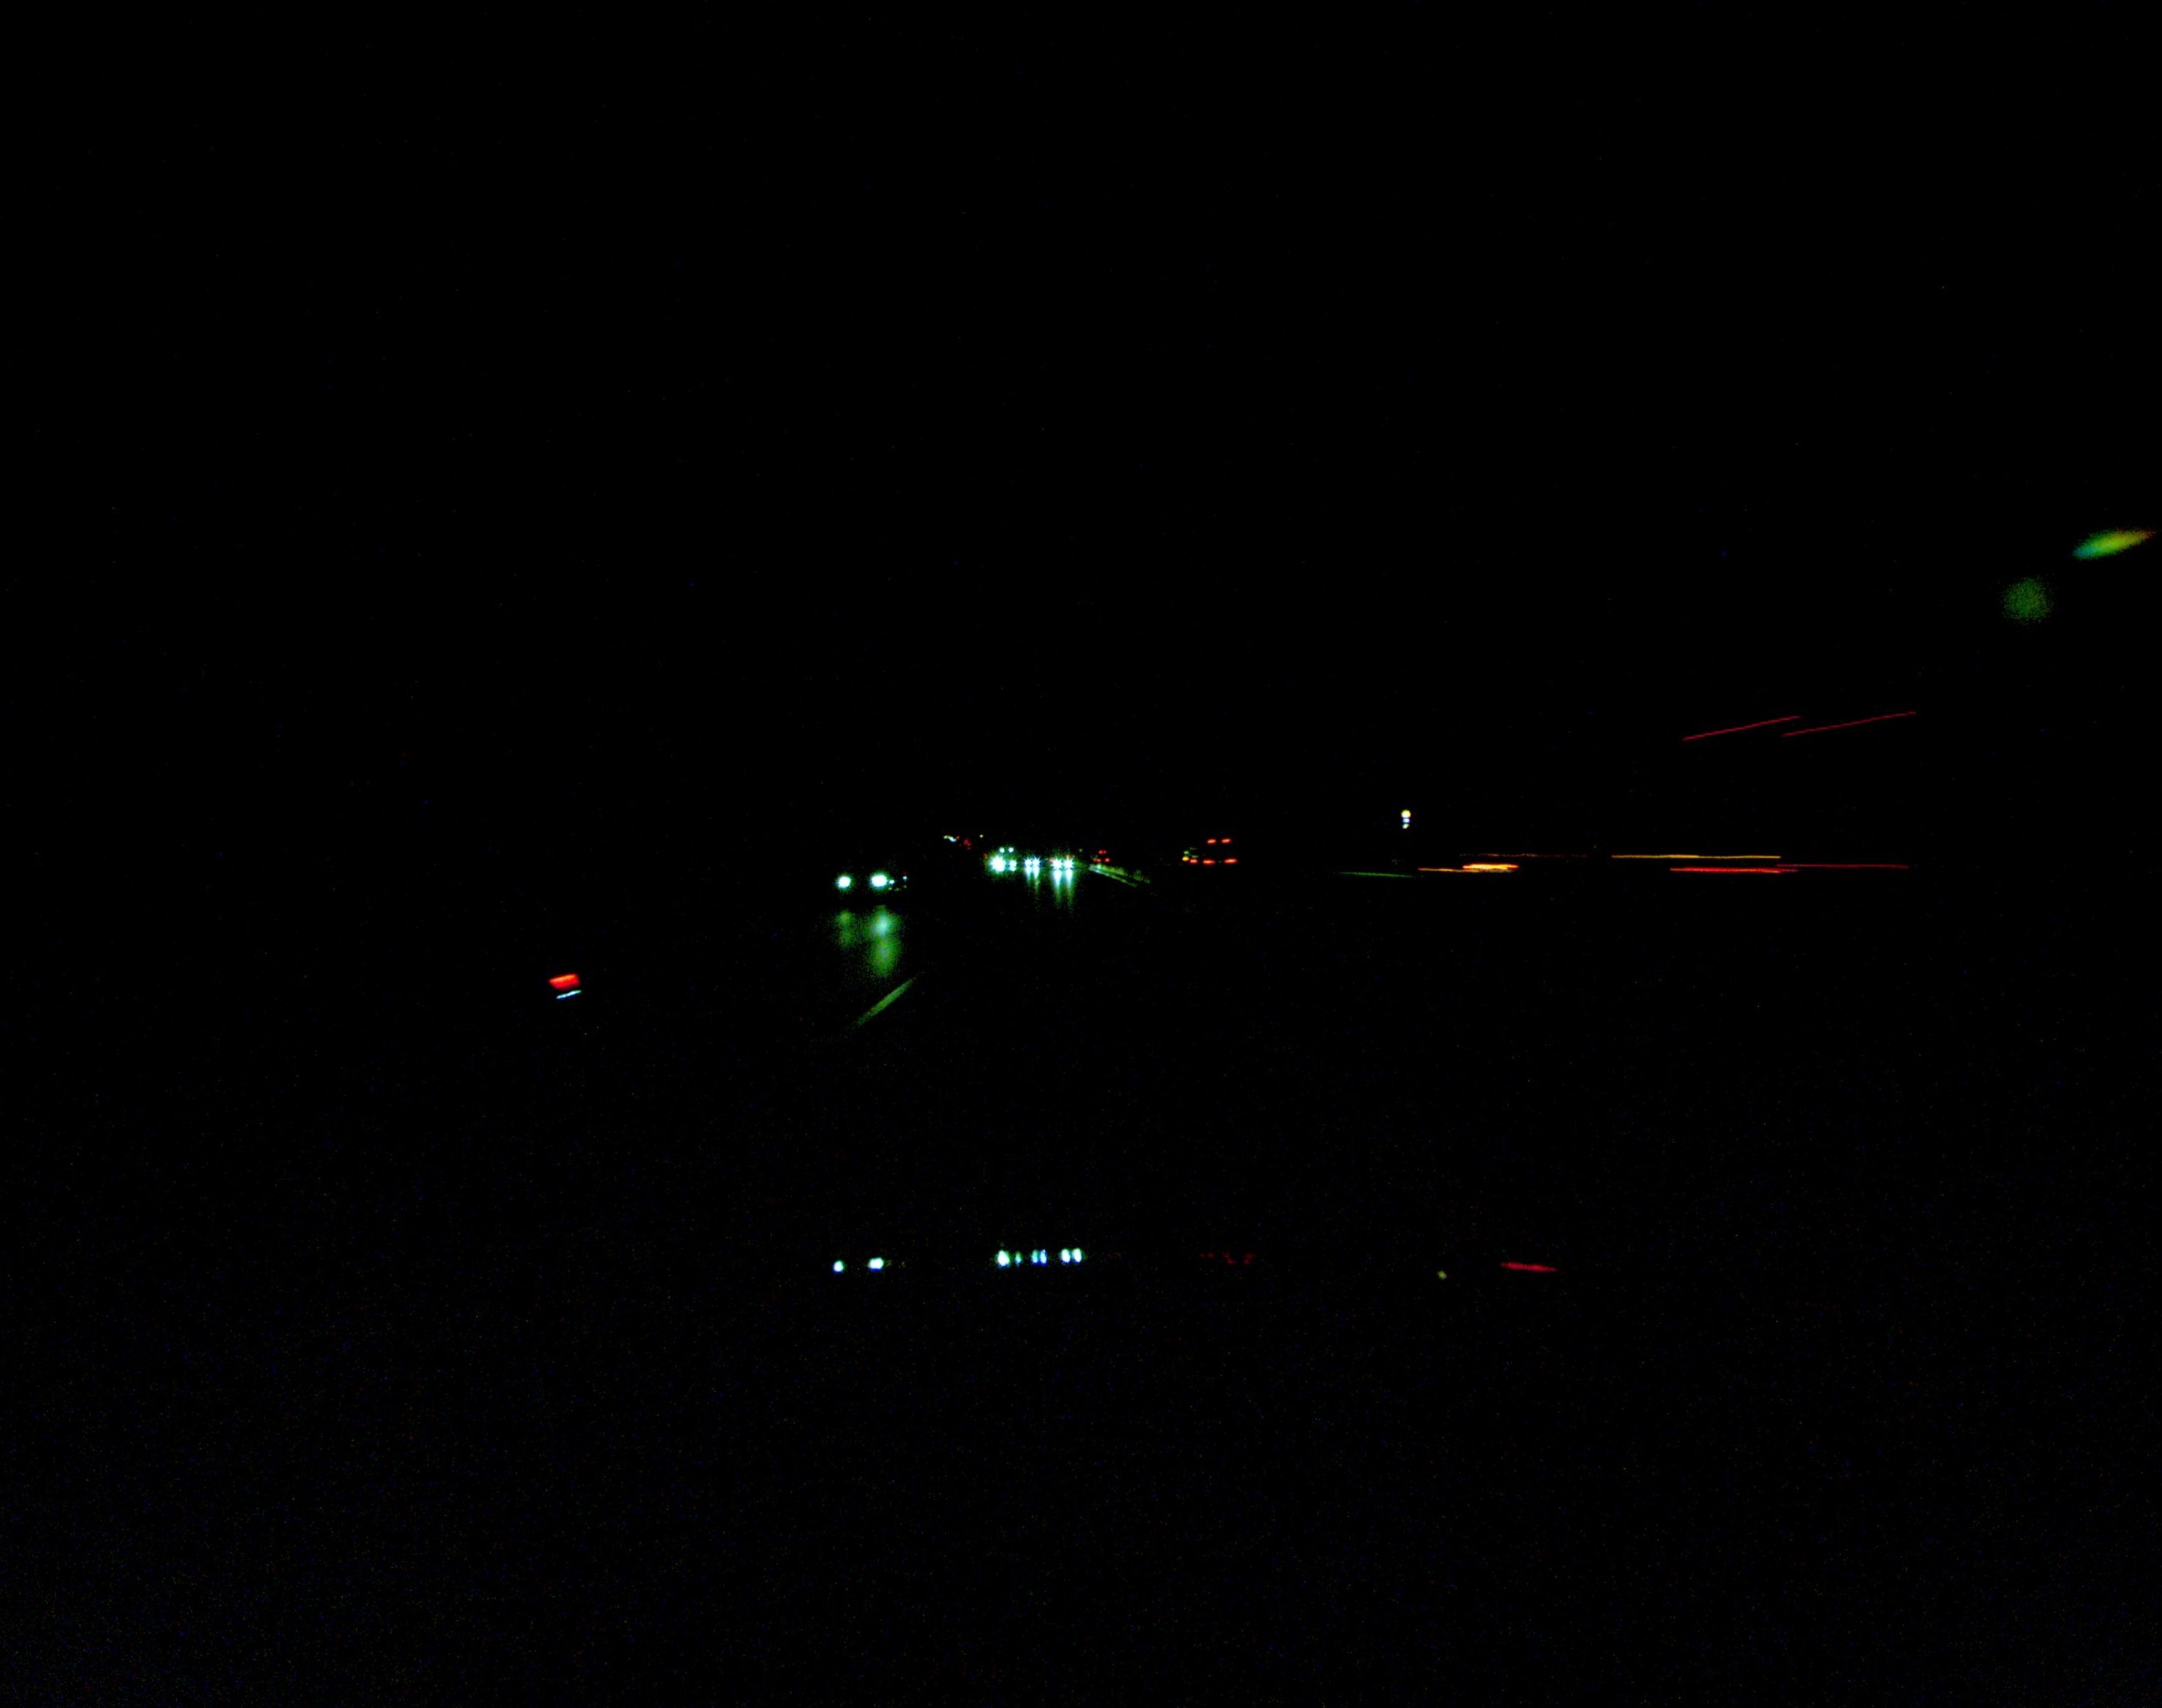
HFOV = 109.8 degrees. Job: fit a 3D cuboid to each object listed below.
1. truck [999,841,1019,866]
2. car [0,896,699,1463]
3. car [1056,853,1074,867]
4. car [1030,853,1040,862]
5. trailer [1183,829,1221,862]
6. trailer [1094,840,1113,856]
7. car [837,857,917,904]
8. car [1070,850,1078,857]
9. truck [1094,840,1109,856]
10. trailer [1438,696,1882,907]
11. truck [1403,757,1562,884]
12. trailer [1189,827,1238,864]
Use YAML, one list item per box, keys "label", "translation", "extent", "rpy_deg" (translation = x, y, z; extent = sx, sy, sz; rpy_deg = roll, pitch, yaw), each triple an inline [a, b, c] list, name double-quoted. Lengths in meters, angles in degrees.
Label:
- label: "truck"
  translation: [-13.481, -0.086, 141.199]
  extent: [3.348, 4.408, 6.989]
  rpy_deg: [-3, 1, -7]
- label: "car"
  translation: [-4.155, 1.089, 4.072]
  extent: [1.840, 1.393, 5.067]
  rpy_deg: [-2, 0, -3]
- label: "car"
  translation: [-1.870, 0.705, 91.733]
  extent: [2.012, 1.652, 3.999]
  rpy_deg: [-2, 0, 0]
- label: "car"
  translation: [-9.065, 0.635, 148.847]
  extent: [1.940, 1.608, 3.998]
  rpy_deg: [-2, 0, -4]
- label: "trailer"
  translation: [14.292, -0.976, 89.982]
  extent: [3.065, 3.667, 7.227]
  rpy_deg: [-2, 1, -1]
- label: "trailer"
  translation: [6.016, -1.650, 207.726]
  extent: [3.447, 3.983, 14.753]
  rpy_deg: [-3, 0, -4]
- label: "car"
  translation: [-8.274, 1.006, 31.296]
  extent: [1.999, 1.707, 5.166]
  rpy_deg: [-2, 0, -2]
- label: "car"
  translation: [-2.200, -0.125, 251.623]
  extent: [2.058, 2.185, 6.963]
  rpy_deg: [-2, 0, -4]
- label: "truck"
  translation: [5.729, -1.666, 211.714]
  extent: [3.447, 3.983, 6.772]
  rpy_deg: [-3, 1, -4]
- label: "trailer"
  translation: [15.740, -1.164, 23.316]
  extent: [2.859, 4.407, 13.979]
  rpy_deg: [-2, 0, 0]
- label: "truck"
  translation: [15.740, -1.214, 30.401]
  extent: [2.859, 4.408, 6.395]
  rpy_deg: [-2, 1, 0]
- label: "trailer"
  translation: [14.401, -0.938, 83.784]
  extent: [3.065, 3.667, 11.684]
  rpy_deg: [-2, 0, -1]
